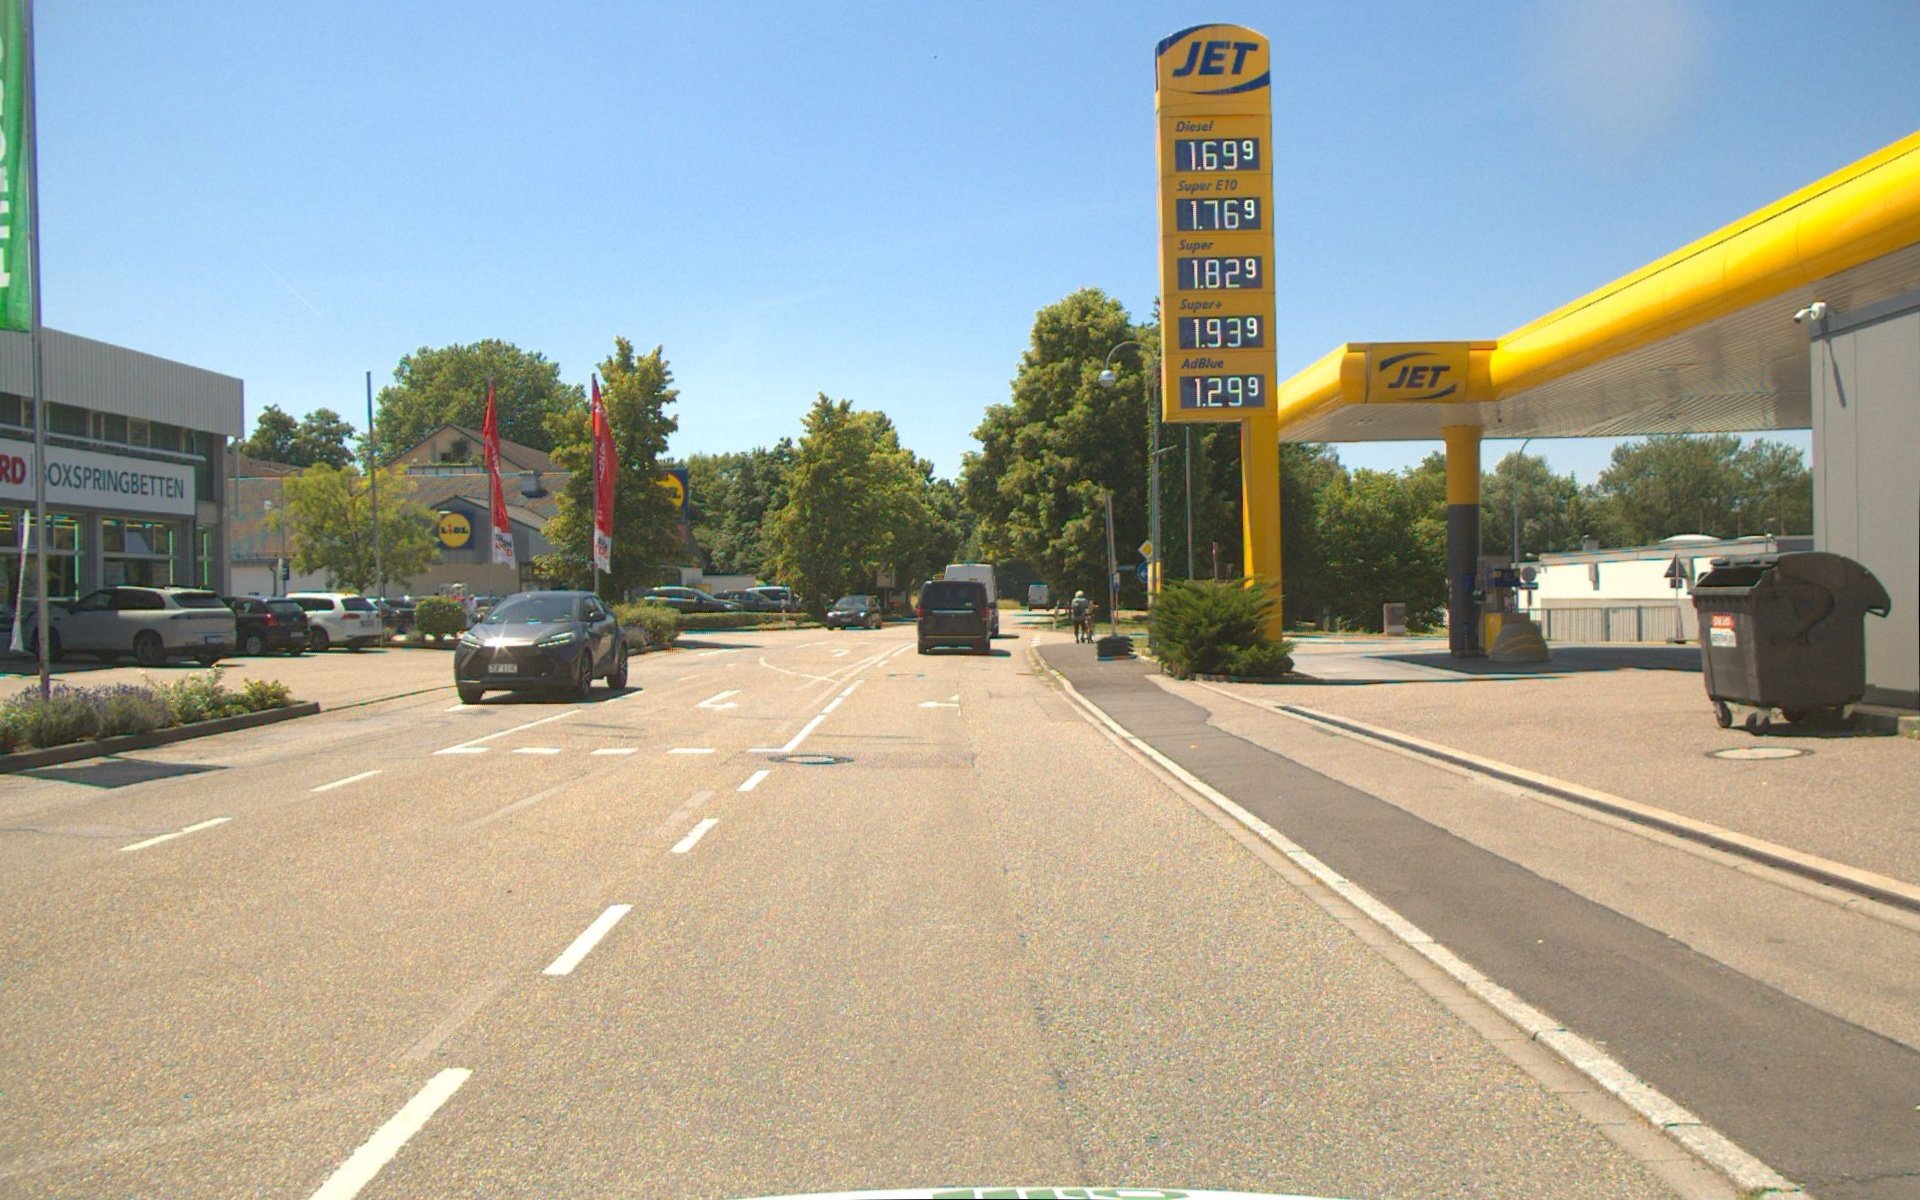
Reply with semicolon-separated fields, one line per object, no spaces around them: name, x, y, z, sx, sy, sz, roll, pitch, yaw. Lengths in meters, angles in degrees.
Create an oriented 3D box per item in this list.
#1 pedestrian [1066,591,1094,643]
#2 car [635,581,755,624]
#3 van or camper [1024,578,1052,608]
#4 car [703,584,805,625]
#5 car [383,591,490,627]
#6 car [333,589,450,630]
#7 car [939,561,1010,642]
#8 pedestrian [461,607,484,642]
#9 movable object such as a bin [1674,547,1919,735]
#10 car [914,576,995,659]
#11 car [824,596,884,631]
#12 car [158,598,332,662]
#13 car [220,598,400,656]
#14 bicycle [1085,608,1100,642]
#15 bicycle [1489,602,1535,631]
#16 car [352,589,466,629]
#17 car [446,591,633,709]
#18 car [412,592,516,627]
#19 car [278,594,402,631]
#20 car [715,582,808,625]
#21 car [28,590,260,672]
pedestrian;3.414;0.468;46.884;0.752;1.446;0.868;0;0;6
car;-11.236;0.104;70.357;4.607;1.793;2.100;0;0;7
van or camper;8.021;-0.698;170.408;2.578;2.980;5.205;1;0;-1
car;-9.668;0.224;77.827;4.291;1.877;2.105;0;0;9
car;-23.515;0.423;74.367;4.224;1.557;1.827;0;0;-1
car;-22.865;0.372;66.625;4.153;1.617;1.767;0;0;-6
car;0.575;0.050;60.194;2.034;2.750;4.669;2;0;6
pedestrian;-21.220;1.056;71.971;0.876;1.509;0.803;1;-1;-22
movable object such as a bin;7.119;0.324;14.074;1.405;1.463;1.467;-2;0;-1
car;-0.083;0.433;43.530;1.952;1.987;5.006;2;0;1
car;-4.579;0.585;72.086;1.891;1.425;4.692;0;0;6
car;-17.818;0.718;41.274;3.549;1.500;2.001;0;1;18
car;-17.300;0.698;44.078;4.095;1.472;1.981;0;1;15
bicycle;3.736;0.684;46.594;0.370;0.928;1.599;0;0;7
bicycle;21.439;0.649;64.235;1.657;1.117;0.468;0;0;5
car;-23.958;0.382;72.006;4.224;1.684;2.114;0;0;-1
car;-6.164;0.671;24.715;1.726;1.553;4.137;-2;1;-1
car;-22.862;0.431;76.334;4.224;1.557;1.827;0;0;-1
car;-23.882;0.478;63.801;4.153;1.393;1.767;0;0;-6
car;-9.644;0.167;80.546;4.266;2.015;1.905;0;0;1
car;-17.877;0.634;36.285;4.435;1.693;2.001;0;1;18
